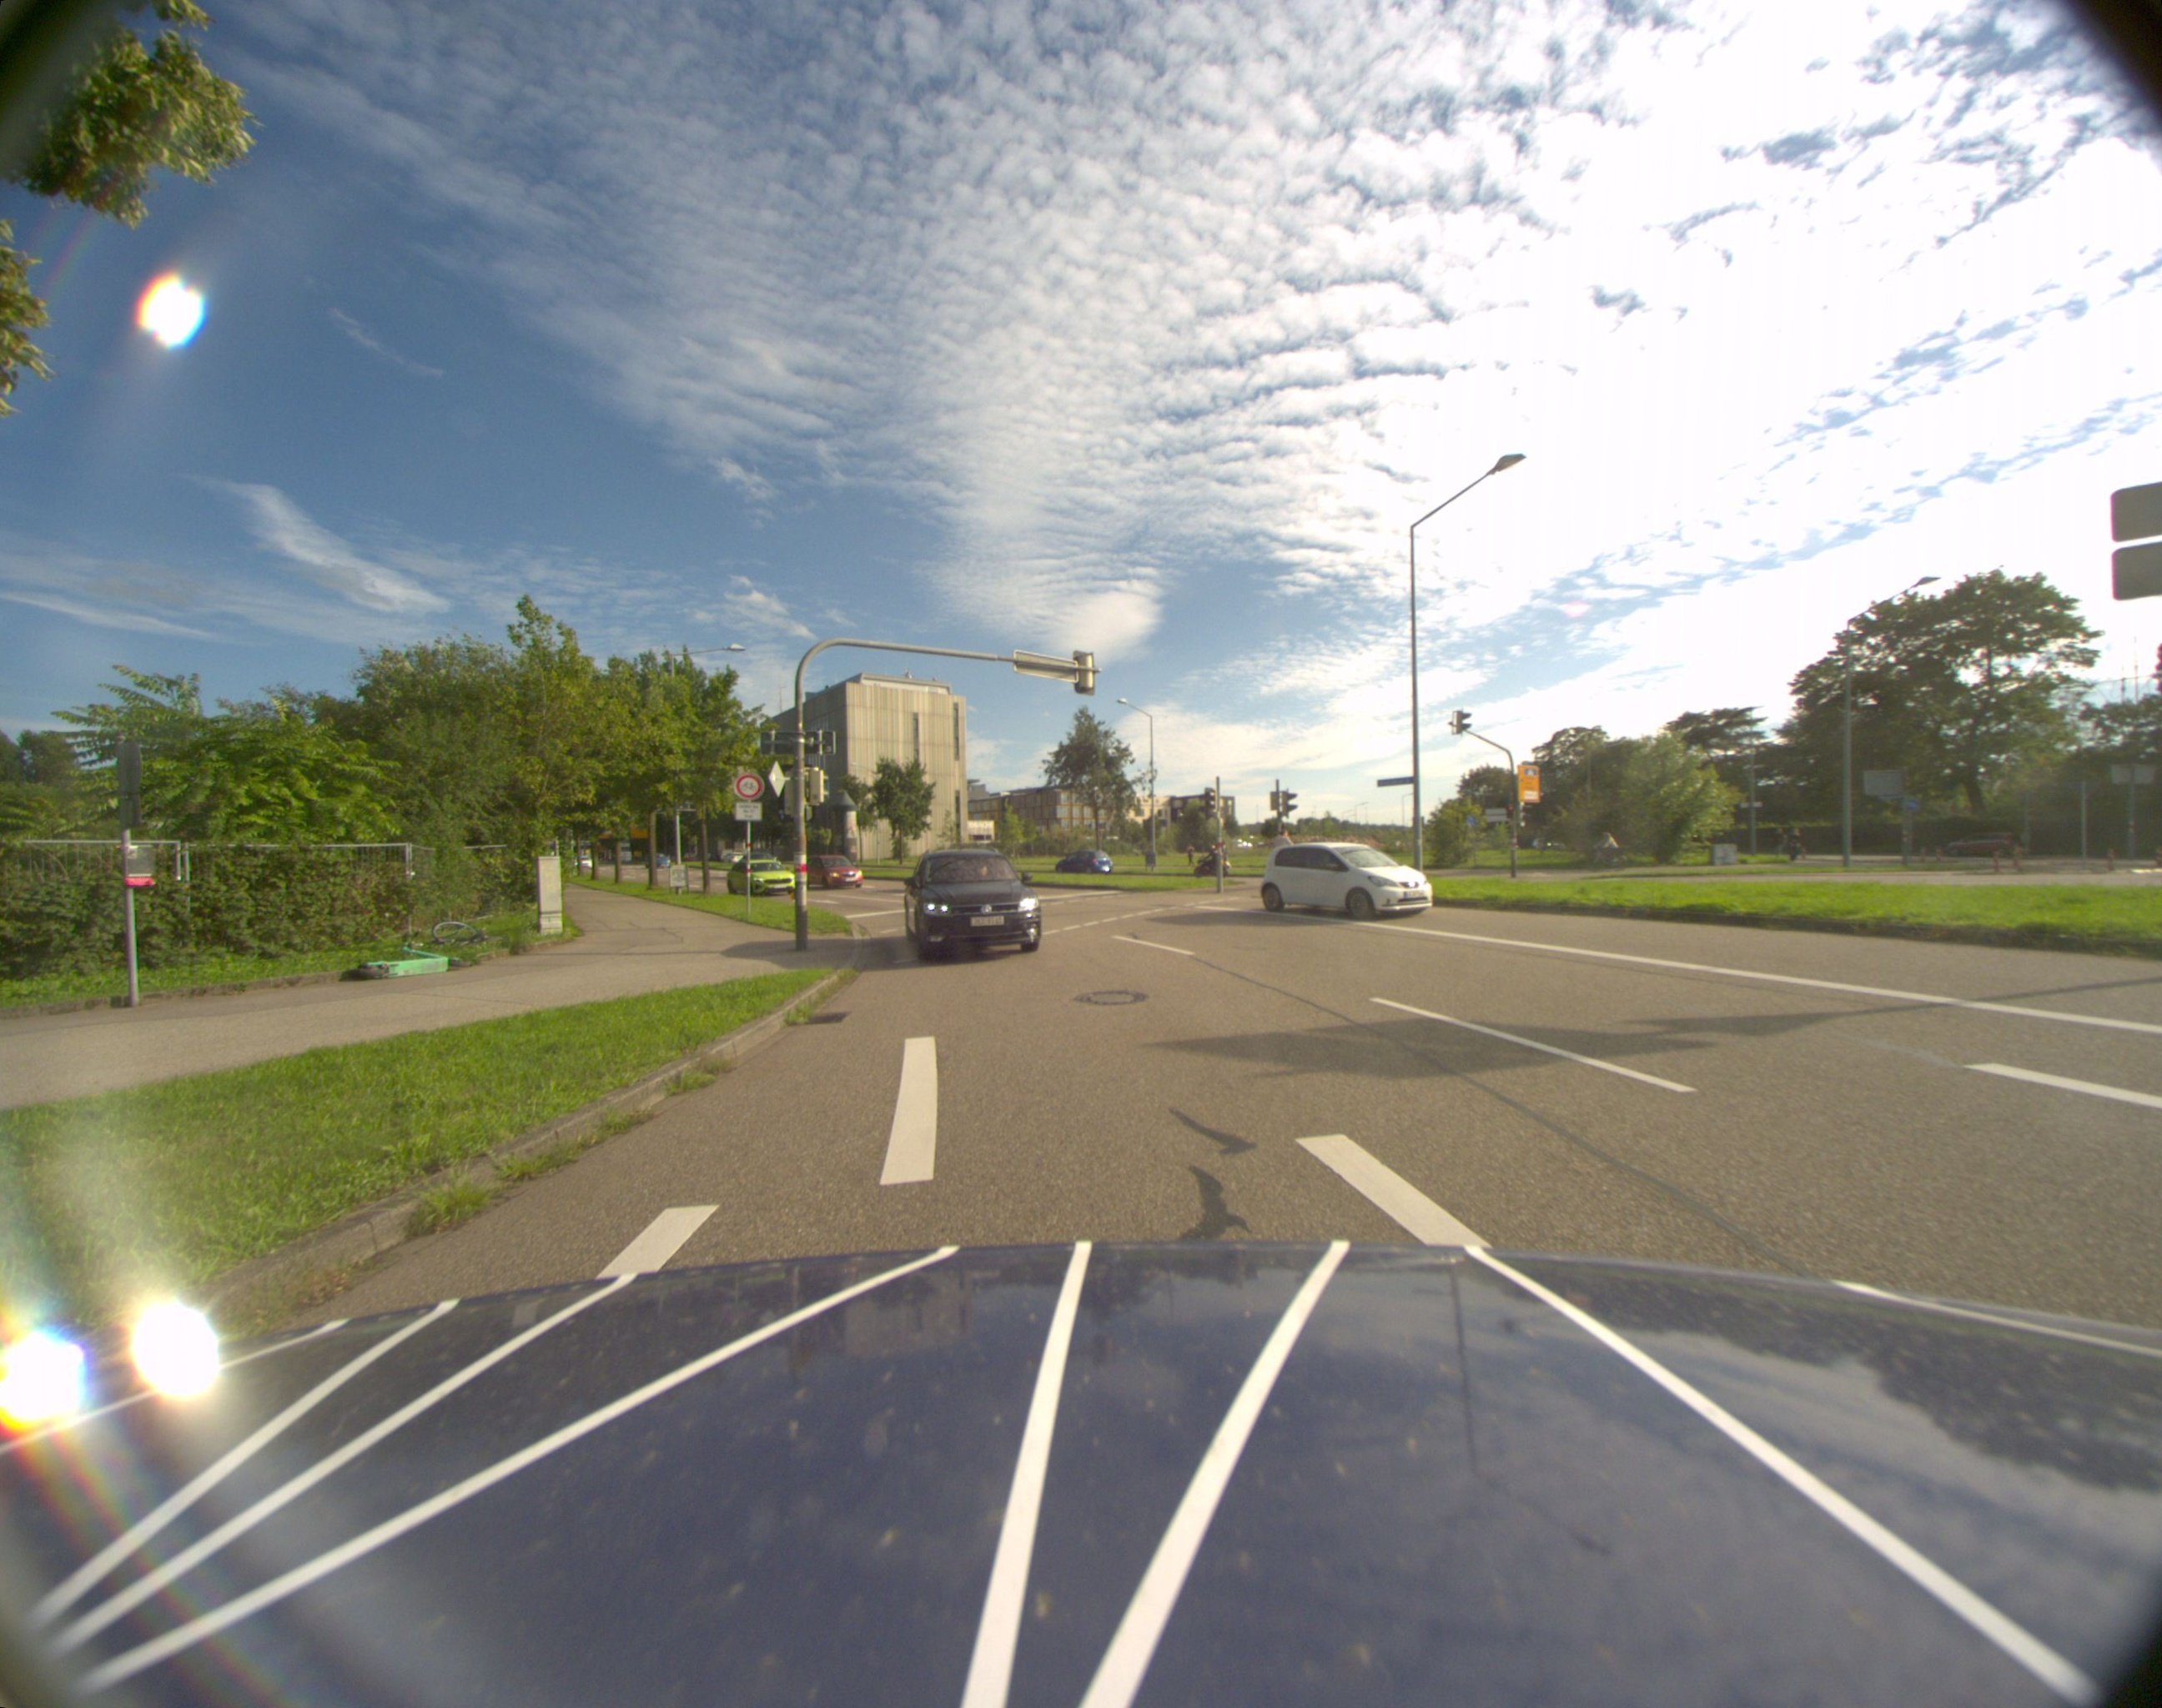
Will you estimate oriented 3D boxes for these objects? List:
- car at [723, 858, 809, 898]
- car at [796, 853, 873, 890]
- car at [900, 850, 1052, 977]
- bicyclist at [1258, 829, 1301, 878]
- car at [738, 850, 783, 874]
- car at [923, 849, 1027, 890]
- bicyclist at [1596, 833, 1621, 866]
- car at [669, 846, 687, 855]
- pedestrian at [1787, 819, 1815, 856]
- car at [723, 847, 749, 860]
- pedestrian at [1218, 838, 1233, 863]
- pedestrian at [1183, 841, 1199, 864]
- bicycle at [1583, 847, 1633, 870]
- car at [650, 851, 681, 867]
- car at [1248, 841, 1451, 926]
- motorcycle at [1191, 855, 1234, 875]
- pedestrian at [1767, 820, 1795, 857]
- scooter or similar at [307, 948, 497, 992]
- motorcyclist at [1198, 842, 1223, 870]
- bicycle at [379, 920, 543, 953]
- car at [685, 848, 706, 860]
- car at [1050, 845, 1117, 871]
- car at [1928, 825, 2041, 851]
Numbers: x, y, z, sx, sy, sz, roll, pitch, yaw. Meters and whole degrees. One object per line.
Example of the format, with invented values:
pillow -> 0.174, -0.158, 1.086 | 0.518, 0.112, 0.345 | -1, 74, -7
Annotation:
car -> -13.156, 0.945, 31.571 | 1.900, 1.413, 4.595 | -5, 3, -40
car -> -11.130, 0.738, 34.140 | 1.698, 1.467, 4.215 | -4, 3, -42
car -> -2.007, 0.798, 13.008 | 1.874, 1.646, 5.007 | -1, 1, -16
bicyclist -> 6.358, -0.023, 24.336 | 0.867, 1.547, 0.995 | -2, 2, -34
car -> -21.737, 0.506, 51.435 | 1.698, 1.467, 4.215 | -3, 3, -39
car -> -4.214, 0.554, 29.687 | 1.827, 1.413, 4.434 | -4, 3, -41
bicyclist -> 23.653, -0.210, 34.087 | 0.698, 1.438, 0.610 | -1, 4, -1
car -> -67.465, -0.571, 127.029 | 1.860, 1.426, 4.056 | -3, 2, -39
pedestrian -> 38.226, -0.862, 40.348 | 0.864, 1.906, 0.898 | -2, 3, 25
car -> -40.259, -0.085, 88.737 | 1.689, 1.426, 3.983 | -2, 1, -40
pedestrian -> 9.464, -0.231, 49.814 | 0.630, 1.620, 0.656 | -4, 3, -36
pedestrian -> 7.462, -0.098, 51.451 | 0.629, 1.500, 0.754 | -6, 4, -36
bicycle -> 23.636, 0.195, 34.086 | 1.836, 0.983, 0.610 | -1, 4, 0
car -> -43.368, 0.495, 79.270 | 2.004, 1.652, 4.790 | -2, 1, -39
car -> 5.345, 0.508, 15.554 | 1.769, 1.456, 3.651 | -3, 2, -29
motorcycle -> 6.548, 0.542, 37.908 | 2.018, 0.981, 0.786 | 0, 1, 42
pedestrian -> 37.375, -0.828, 40.572 | 0.864, 1.906, 0.898 | -2, 3, 25
scooter or similar -> -9.184, 1.551, 10.340 | 1.290, 0.279, 1.556 | -1, 1, 27
motorcyclist -> 6.456, 0.092, 37.972 | 0.940, 1.358, 0.786 | 0, 2, 42
bicycle -> -10.556, 1.405, 12.954 | 2.246, 0.344, 1.091 | -4, 1, 17
car -> -51.959, -0.005, 102.357 | 1.689, 1.426, 3.580 | -2, 1, -39
car -> 0.121, 0.238, 45.415 | 1.787, 1.492, 3.983 | 0, -1, -41
car -> 52.808, -0.922, 44.534 | 1.768, 1.412, 3.998 | -2, 1, -3
